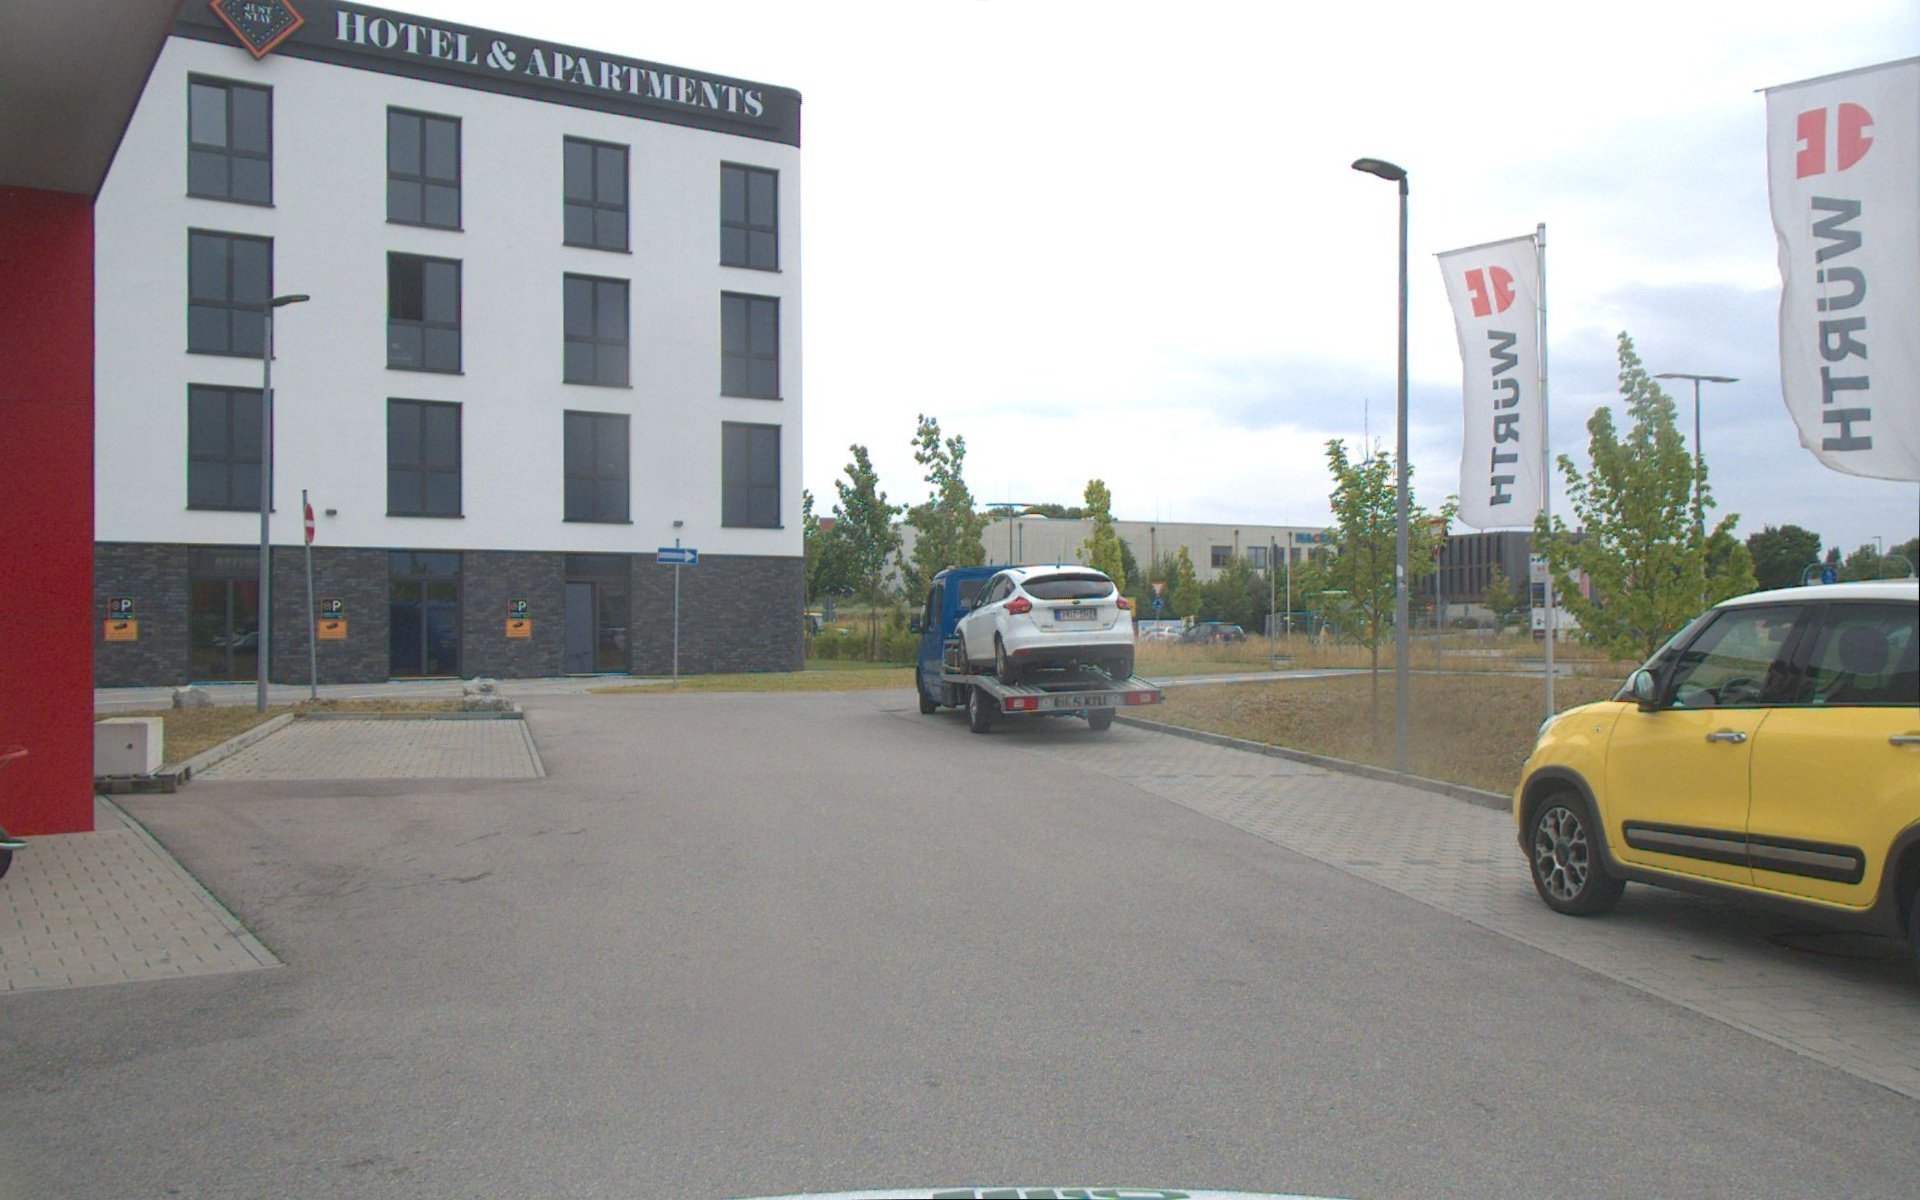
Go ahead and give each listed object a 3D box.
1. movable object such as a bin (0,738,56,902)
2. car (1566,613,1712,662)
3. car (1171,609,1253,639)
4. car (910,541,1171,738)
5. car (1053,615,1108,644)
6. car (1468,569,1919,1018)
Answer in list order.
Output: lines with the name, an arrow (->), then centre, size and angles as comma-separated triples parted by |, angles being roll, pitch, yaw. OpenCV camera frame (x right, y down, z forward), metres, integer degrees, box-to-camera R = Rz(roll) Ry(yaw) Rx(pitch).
movable object such as a bin -> -5.305, 1.099, 8.042 | 1.564, 0.728, 0.795 | 0, 0, -32
car -> 19.619, 1.062, 47.957 | 1.690, 1.347, 3.975 | 0, 0, -21
car -> 10.503, 0.984, 69.271 | 1.690, 1.246, 3.975 | 0, 0, -21
car -> 0.877, 0.540, 23.893 | 2.154, 2.363, 7.838 | 0, -1, -9
car -> 6.094, 1.482, 83.951 | 1.541, 1.445, 3.474 | 0, 0, -20
car -> 4.239, 0.756, 7.611 | 1.717, 1.713, 4.283 | 1, -1, -13
